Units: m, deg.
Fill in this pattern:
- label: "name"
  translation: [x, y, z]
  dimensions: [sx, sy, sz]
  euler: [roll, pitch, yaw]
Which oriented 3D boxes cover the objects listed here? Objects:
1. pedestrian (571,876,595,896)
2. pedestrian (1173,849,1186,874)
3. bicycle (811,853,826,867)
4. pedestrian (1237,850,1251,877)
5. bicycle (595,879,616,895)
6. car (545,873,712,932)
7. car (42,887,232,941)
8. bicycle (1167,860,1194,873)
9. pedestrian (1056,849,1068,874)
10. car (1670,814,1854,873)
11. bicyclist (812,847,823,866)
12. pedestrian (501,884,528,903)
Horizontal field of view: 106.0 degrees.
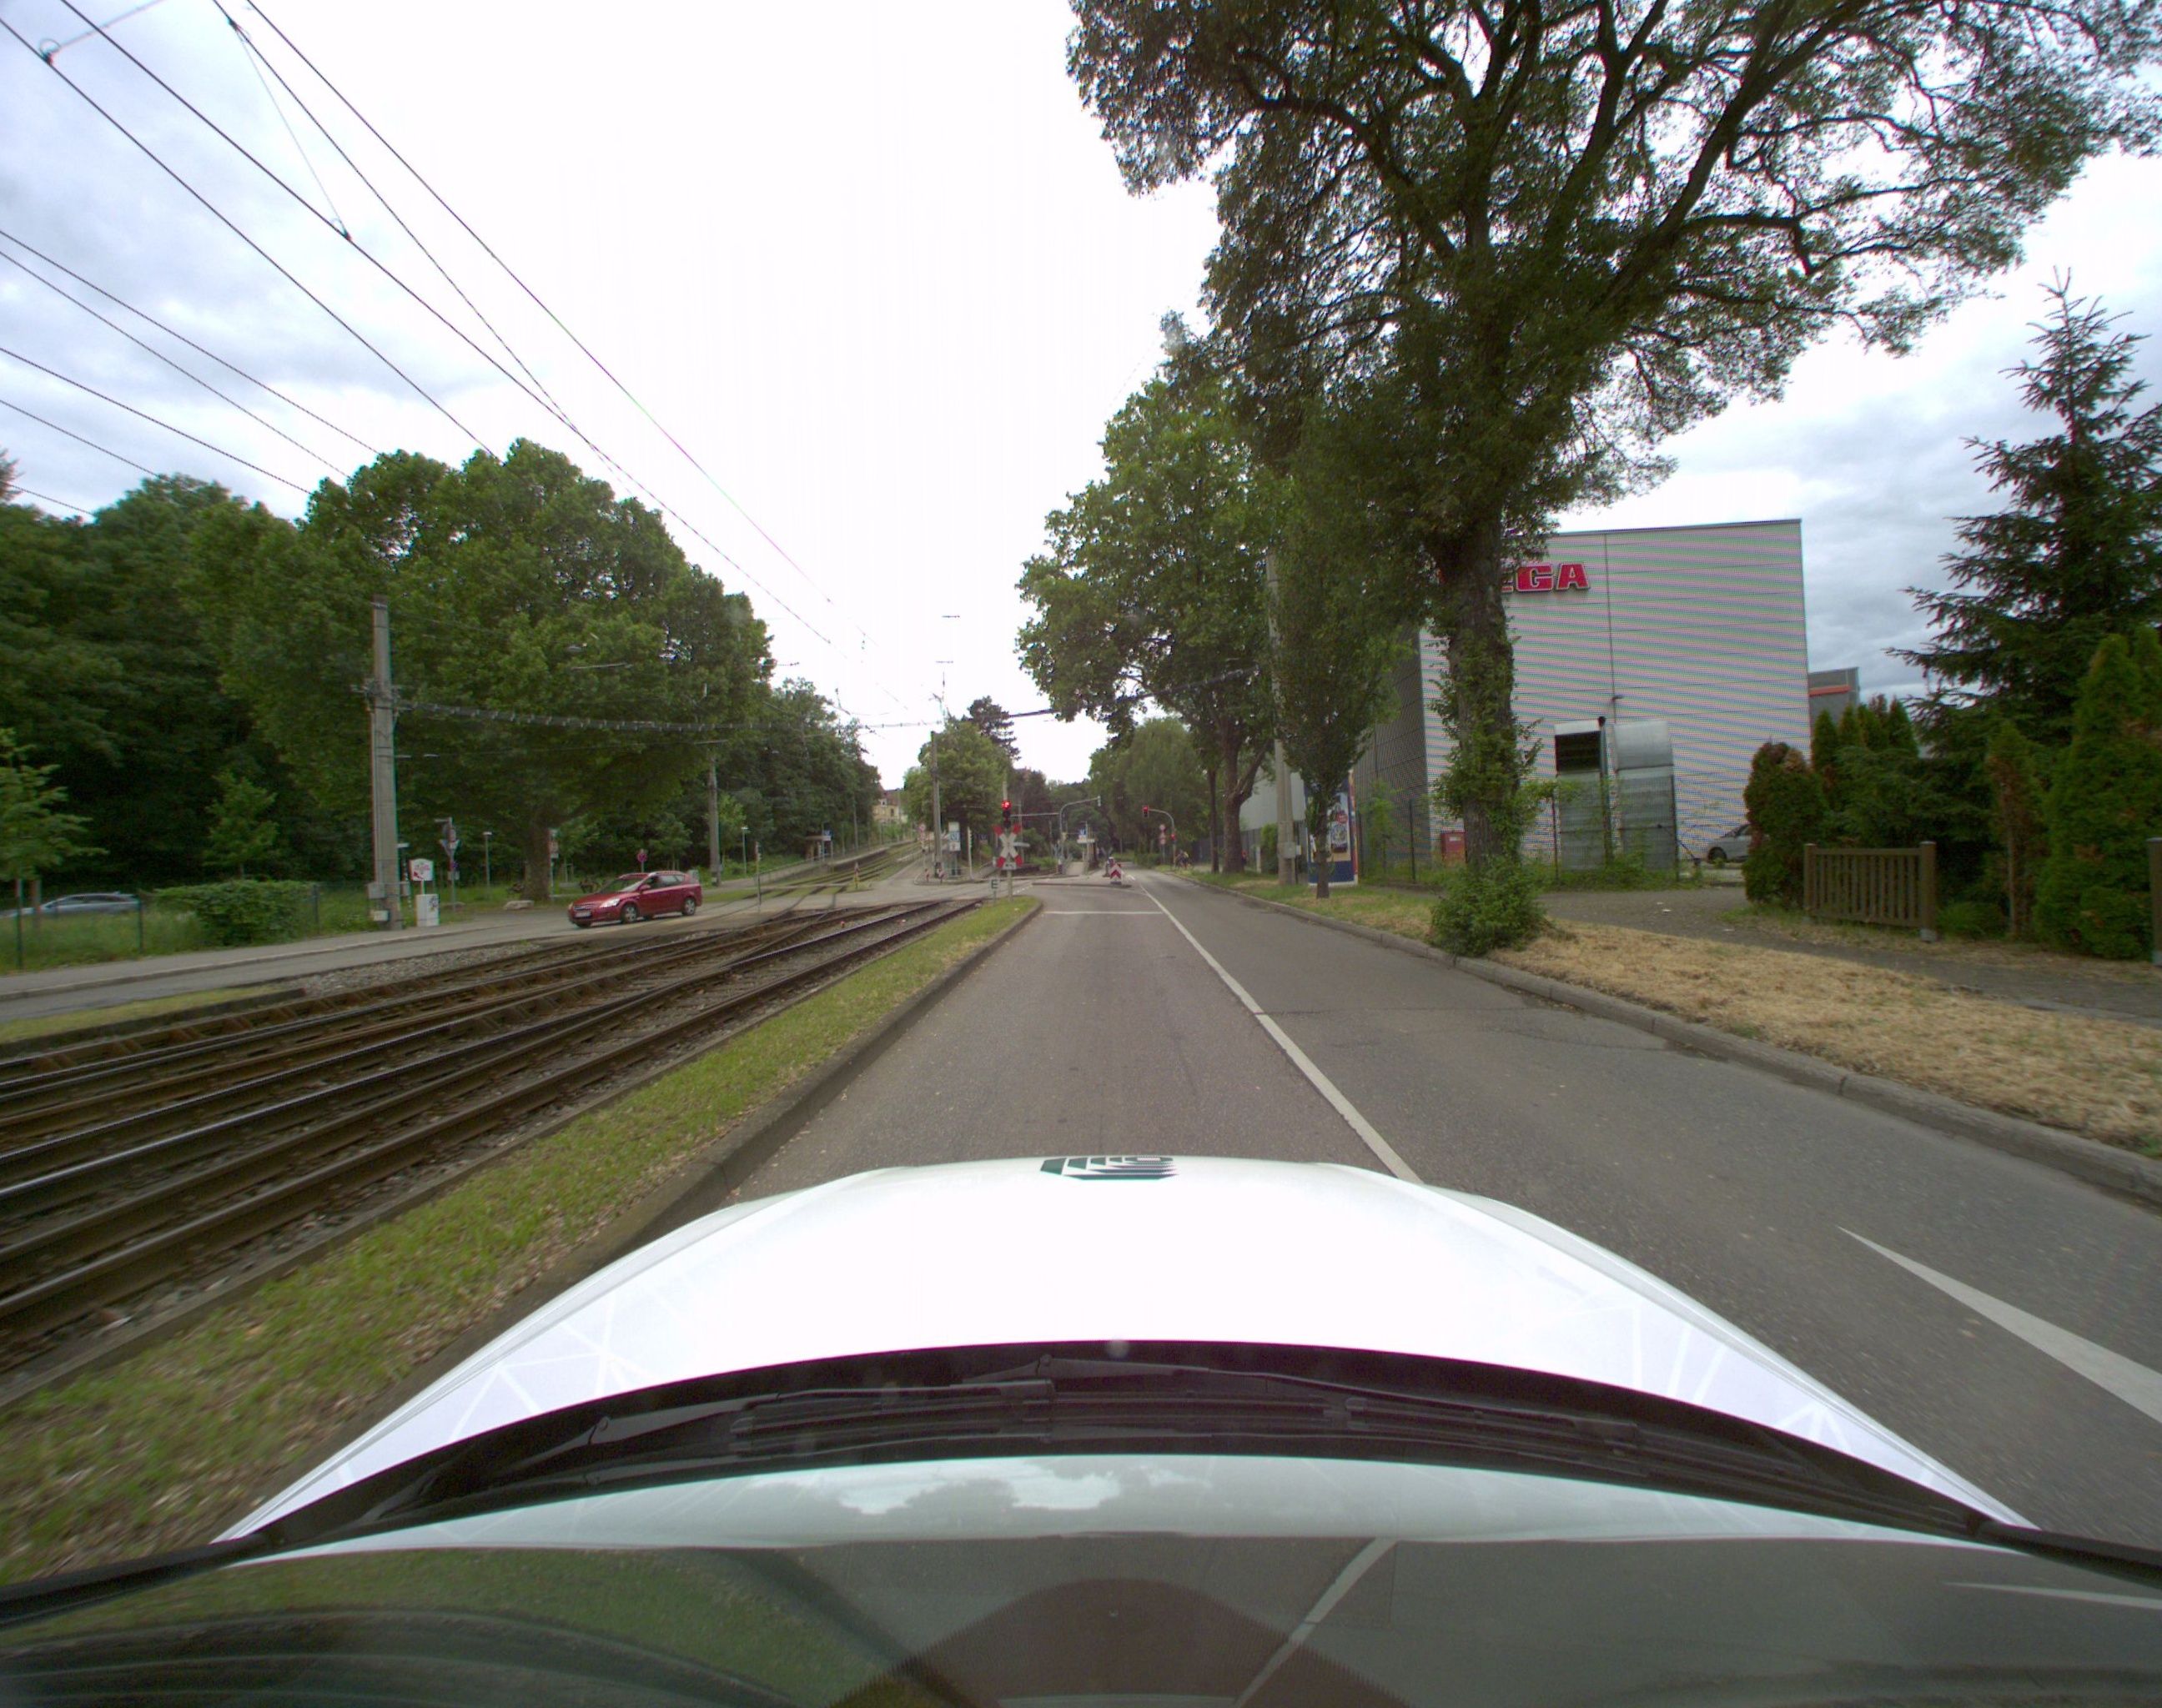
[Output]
- label: "pedestrian"
  translation: [-32.805, 2.085, 53.675]
  dimensions: [1.102, 1.268, 1.063]
  euler: [-1, -2, 40]
- label: "pedestrian"
  translation: [8.026, 0.589, 66.464]
  dimensions: [0.926, 2.013, 0.670]
  euler: [-3, -1, 8]
- label: "bicycle"
  translation: [-27.374, 0.615, 84.827]
  dimensions: [0.823, 1.343, 2.990]
  euler: [-3, 3, -6]
- label: "pedestrian"
  translation: [9.482, 0.552, 47.461]
  dimensions: [0.662, 1.553, 0.936]
  euler: [-3, 0, 8]
- label: "bicycle"
  translation: [-31.846, 2.208, 54.586]
  dimensions: [1.631, 1.012, 0.680]
  euler: [-1, -2, 39]
- label: "car"
  translation: [-14.052, 1.466, 25.647]
  dimensions: [1.979, 1.515, 4.519]
  euler: [-2, 0, 15]
- label: "car"
  translation: [-41.798, 2.605, 36.214]
  dimensions: [2.325, 1.888, 5.116]
  euler: [-2, 0, 30]
- label: "bicycle"
  translation: [8.131, 1.020, 66.458]
  dimensions: [2.063, 1.007, 0.669]
  euler: [-3, 0, 8]
- label: "pedestrian"
  translation: [-1.465, 0.597, 62.950]
  dimensions: [0.766, 1.852, 0.910]
  euler: [-3, 0, 1]
- label: "car"
  translation: [21.917, -0.326, 26.515]
  dimensions: [1.988, 1.675, 4.634]
  euler: [-2, 0, -2]
- label: "bicyclist"
  translation: [-27.341, 0.249, 84.399]
  dimensions: [0.820, 1.848, 1.049]
  euler: [-2, 2, -6]
- label: "pedestrian"
  translation: [-34.539, 2.397, 49.652]
  dimensions: [0.894, 1.095, 1.088]
  euler: [-1, -2, 37]
